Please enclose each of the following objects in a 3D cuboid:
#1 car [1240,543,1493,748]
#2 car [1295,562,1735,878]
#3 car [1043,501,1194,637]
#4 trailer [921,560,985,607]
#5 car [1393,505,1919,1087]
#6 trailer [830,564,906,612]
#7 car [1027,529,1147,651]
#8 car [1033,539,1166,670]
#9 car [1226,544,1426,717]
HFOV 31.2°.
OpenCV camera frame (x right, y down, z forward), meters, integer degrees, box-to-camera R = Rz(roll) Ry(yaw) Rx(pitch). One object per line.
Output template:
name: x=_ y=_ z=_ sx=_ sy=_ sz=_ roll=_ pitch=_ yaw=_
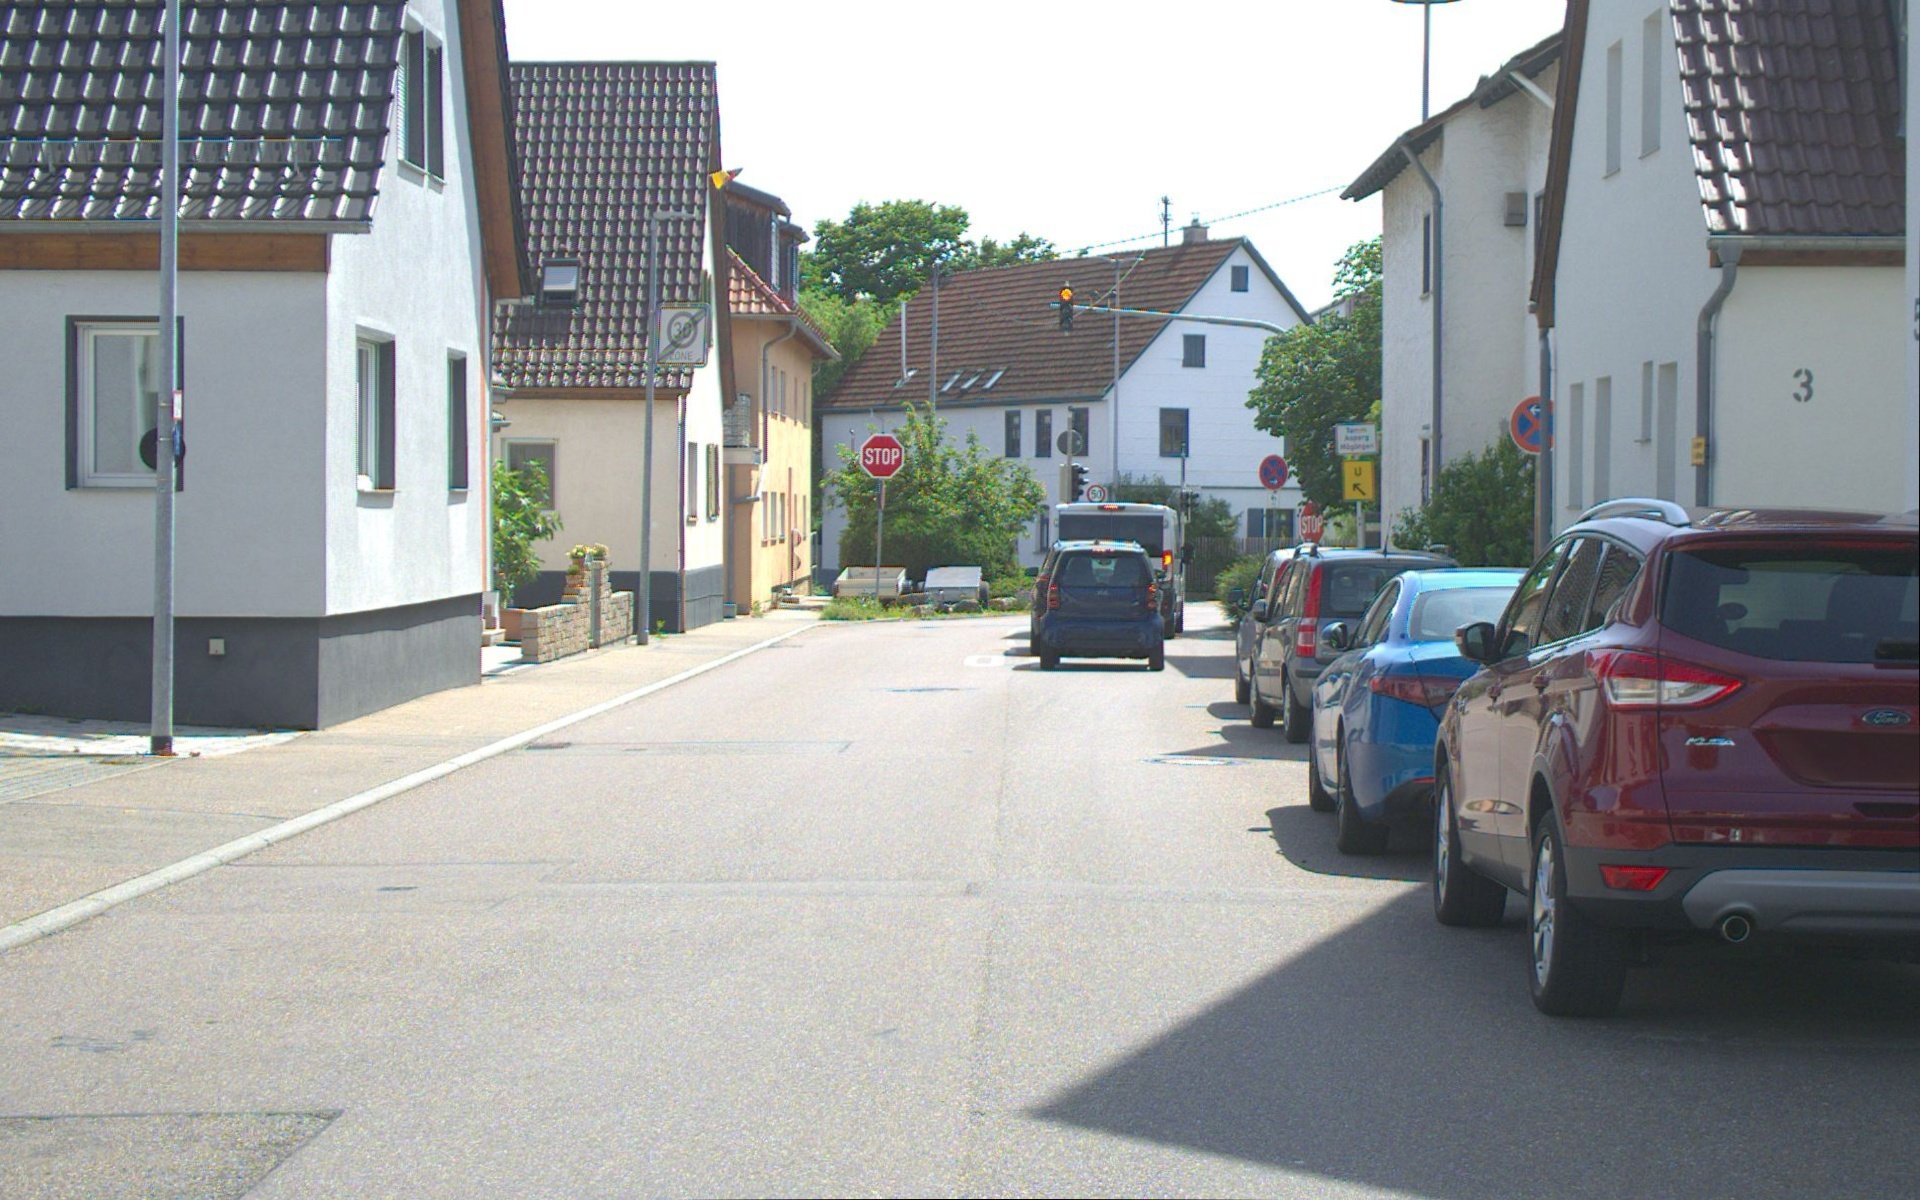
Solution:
car: x=3.264 y=0.324 z=28.141 sx=1.567 sy=1.540 sz=3.450 roll=1 pitch=1 yaw=-1
car: x=2.813 y=0.532 z=18.362 sx=1.763 sy=1.419 sz=4.591 roll=1 pitch=1 yaw=2
car: x=2.697 y=-0.531 z=57.453 sx=2.129 sy=2.151 sz=4.735 roll=1 pitch=1 yaw=7
trailer: x=-0.147 y=-0.347 z=72.848 sx=1.311 sy=0.967 sz=0.933 roll=1 pitch=1 yaw=3
car: x=2.802 y=0.554 z=12.263 sx=1.875 sy=1.694 sz=4.183 roll=2 pitch=1 yaw=-1
trailer: x=-1.961 y=-0.258 z=73.240 sx=1.502 sy=0.924 sz=1.012 roll=3 pitch=1 yaw=3
car: x=1.807 y=-0.162 z=48.165 sx=1.516 sy=1.619 sz=3.184 roll=1 pitch=1 yaw=5
car: x=1.795 y=0.034 z=43.437 sx=1.516 sy=1.561 sz=3.184 roll=2 pitch=1 yaw=5
car: x=3.393 y=0.243 z=32.347 sx=1.498 sy=1.508 sz=3.362 roll=1 pitch=1 yaw=0
